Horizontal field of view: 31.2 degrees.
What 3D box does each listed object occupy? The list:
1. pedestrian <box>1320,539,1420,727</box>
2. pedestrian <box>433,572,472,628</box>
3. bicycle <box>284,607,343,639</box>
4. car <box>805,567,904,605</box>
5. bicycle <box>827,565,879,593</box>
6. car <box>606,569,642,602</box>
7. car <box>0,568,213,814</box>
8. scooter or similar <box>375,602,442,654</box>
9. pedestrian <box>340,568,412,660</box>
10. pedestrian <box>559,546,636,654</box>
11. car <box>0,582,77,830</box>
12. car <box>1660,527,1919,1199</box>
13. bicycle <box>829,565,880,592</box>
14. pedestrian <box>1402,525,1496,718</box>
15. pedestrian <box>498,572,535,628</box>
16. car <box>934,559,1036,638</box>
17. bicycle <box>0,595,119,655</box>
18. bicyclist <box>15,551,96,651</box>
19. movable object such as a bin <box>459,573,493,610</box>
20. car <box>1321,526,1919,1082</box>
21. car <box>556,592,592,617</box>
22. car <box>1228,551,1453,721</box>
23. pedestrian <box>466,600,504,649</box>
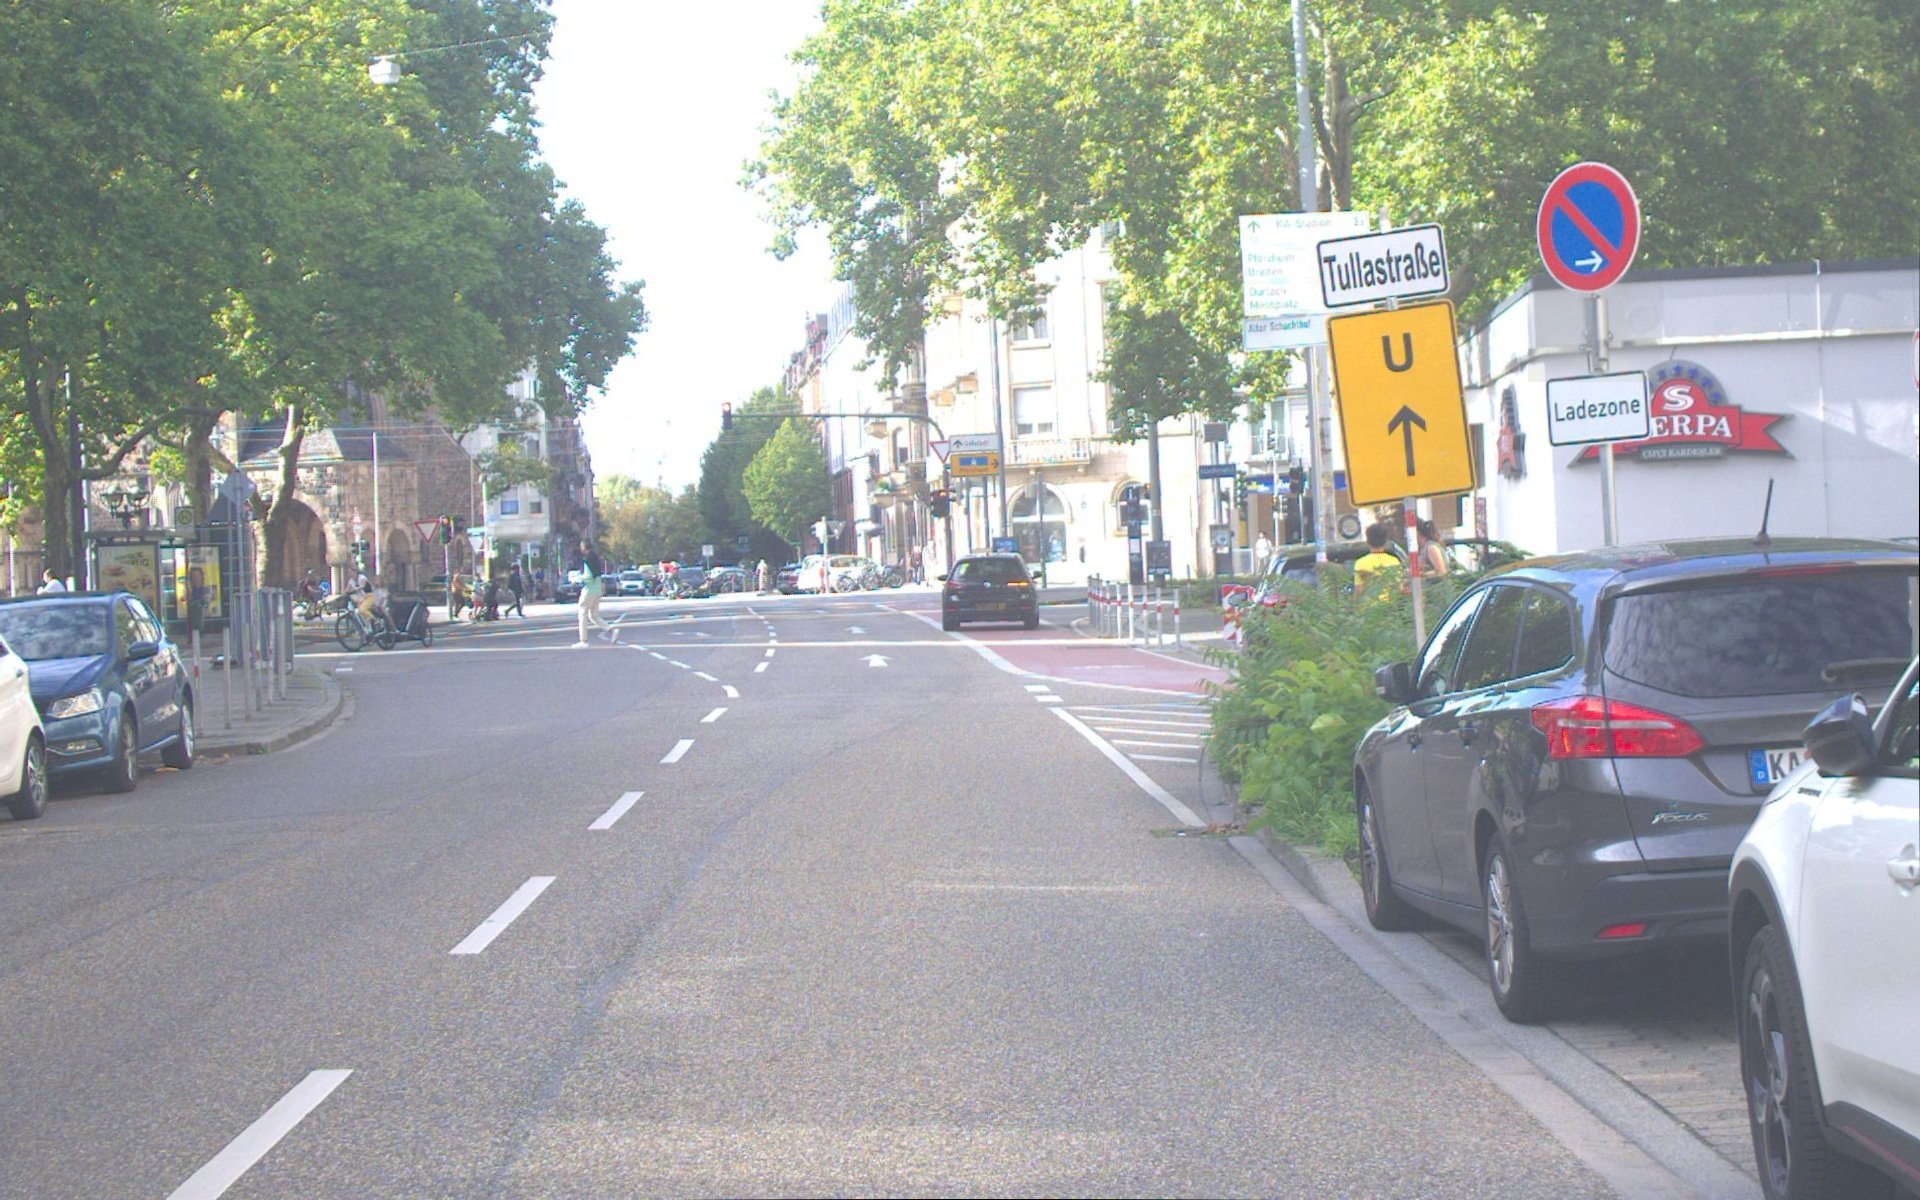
[{"bbox_3d":[3.473,0.271,29.173,0.652,1.533,0.743,-3,1,-1],"label":"pedestrian"},{"bbox_3d":[-15.418,0.002,104.456,0.815,1.623,0.604,-6,1,20],"label":"pedestrian"},{"bbox_3d":[-20.933,0.740,111.265,1.832,0.952,0.572,-2,1,22],"label":"bicycle"},{"bbox_3d":[-4.499,-0.602,146.807,3.986,1.415,2.000,-2,1,-8],"label":"car"},{"bbox_3d":[-4.492,-0.875,144.309,2.022,1.078,0.620,-3,1,-14],"label":"bicycle"},{"bbox_3d":[-22.072,-0.963,226.095,1.993,2.007,4.000,-2,1,-1],"label":"car"},{"bbox_3d":[-6.790,0.640,25.283,1.799,1.614,3.803,-5,1,-3],"label":"car"},{"bbox_3d":[-10.344,0.530,64.497,0.806,0.919,1.013,-2,1,21],"label":"scooter or similar"},{"bbox_3d":[-10.779,0.253,63.515,0.814,1.648,1.075,-2,1,21],"label":"pedestrian"},{"bbox_3d":[-5.994,-0.006,56.786,1.074,1.747,0.919,-1,1,-17],"label":"pedestrian"},{"bbox_3d":[-6.762,0.721,20.708,1.799,1.488,3.803,-4,1,0],"label":"car"},{"bbox_3d":[2.497,0.608,6.117,1.690,1.523,4.237,-2,1,2],"label":"car"},{"bbox_3d":[-4.452,-0.912,144.969,2.022,1.078,0.631,-3,1,-14],"label":"bicycle"},{"bbox_3d":[4.261,0.180,29.992,0.652,1.639,0.743,-2,1,-1],"label":"pedestrian"},{"bbox_3d":[-13.494,0.002,104.685,0.781,1.656,0.778,-2,1,18],"label":"pedestrian"},{"bbox_3d":[0.440,-0.048,64.975,1.751,1.409,4.000,-2,1,-2],"label":"car"},{"bbox_3d":[-15.581,0.432,59.294,1.920,0.990,0.763,-1,1,6],"label":"bicycle"},{"bbox_3d":[-15.586,0.013,59.241,1.110,1.686,0.814,-1,1,5],"label":"bicyclist"},{"bbox_3d":[-14.660,-0.256,104.198,0.838,1.120,0.575,-1,1,19],"label":"movable object such as a bin"},{"bbox_3d":[2.438,0.547,11.955,1.690,1.523,4.238,-3,1,-2],"label":"car"},{"bbox_3d":[-20.125,0.205,179.360,1.550,1.225,3.588,-1,1,-2],"label":"car"},{"bbox_3d":[3.534,0.290,32.559,1.761,1.407,4.233,-3,1,2],"label":"car"},{"bbox_3d":[-14.189,0.734,102.702,0.782,1.427,0.730,-2,1,22],"label":"pedestrian"}]
